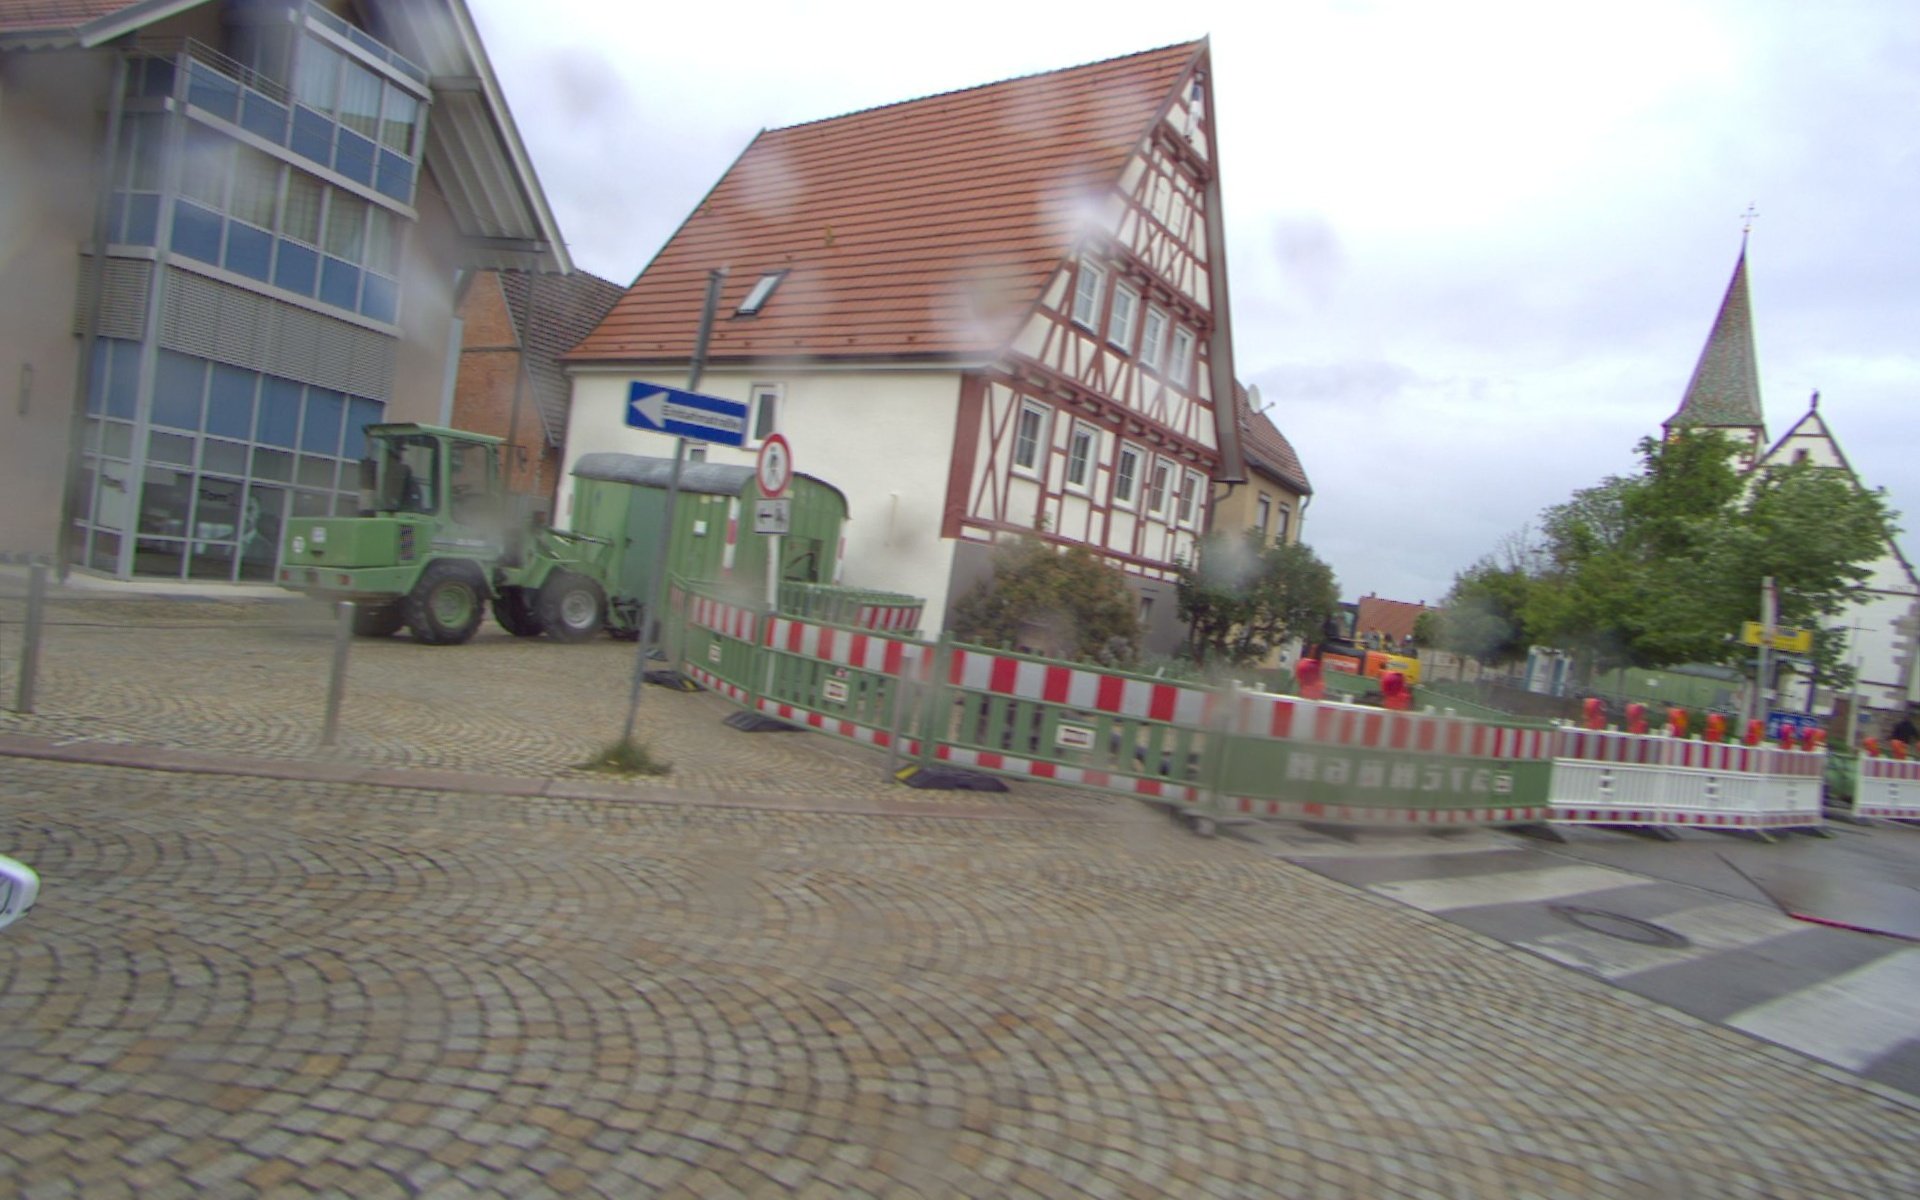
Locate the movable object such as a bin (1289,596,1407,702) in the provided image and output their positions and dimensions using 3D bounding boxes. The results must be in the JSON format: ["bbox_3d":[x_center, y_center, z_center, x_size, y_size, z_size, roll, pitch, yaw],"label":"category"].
[{"bbox_3d":[9.087,1.179,23.377,1.878,2.038,3.996,8,0,28],"label":"movable object such as a bin"}]

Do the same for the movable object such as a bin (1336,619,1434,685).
[{"bbox_3d":[17.639,2.171,42.011,3.350,2.038,3.478,11,1,21],"label":"movable object such as a bin"}]

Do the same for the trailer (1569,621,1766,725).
[{"bbox_3d":[27.987,2.843,40.045,5.691,2.983,2.000,11,2,15],"label":"trailer"}]

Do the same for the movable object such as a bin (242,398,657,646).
[{"bbox_3d":[-6.376,-0.845,13.076,1.880,2.587,4.280,7,1,32],"label":"movable object such as a bin"}]

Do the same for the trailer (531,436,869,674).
[{"bbox_3d":[-4.153,-0.743,15.825,4.559,2.871,2.485,11,2,36],"label":"trailer"}]
